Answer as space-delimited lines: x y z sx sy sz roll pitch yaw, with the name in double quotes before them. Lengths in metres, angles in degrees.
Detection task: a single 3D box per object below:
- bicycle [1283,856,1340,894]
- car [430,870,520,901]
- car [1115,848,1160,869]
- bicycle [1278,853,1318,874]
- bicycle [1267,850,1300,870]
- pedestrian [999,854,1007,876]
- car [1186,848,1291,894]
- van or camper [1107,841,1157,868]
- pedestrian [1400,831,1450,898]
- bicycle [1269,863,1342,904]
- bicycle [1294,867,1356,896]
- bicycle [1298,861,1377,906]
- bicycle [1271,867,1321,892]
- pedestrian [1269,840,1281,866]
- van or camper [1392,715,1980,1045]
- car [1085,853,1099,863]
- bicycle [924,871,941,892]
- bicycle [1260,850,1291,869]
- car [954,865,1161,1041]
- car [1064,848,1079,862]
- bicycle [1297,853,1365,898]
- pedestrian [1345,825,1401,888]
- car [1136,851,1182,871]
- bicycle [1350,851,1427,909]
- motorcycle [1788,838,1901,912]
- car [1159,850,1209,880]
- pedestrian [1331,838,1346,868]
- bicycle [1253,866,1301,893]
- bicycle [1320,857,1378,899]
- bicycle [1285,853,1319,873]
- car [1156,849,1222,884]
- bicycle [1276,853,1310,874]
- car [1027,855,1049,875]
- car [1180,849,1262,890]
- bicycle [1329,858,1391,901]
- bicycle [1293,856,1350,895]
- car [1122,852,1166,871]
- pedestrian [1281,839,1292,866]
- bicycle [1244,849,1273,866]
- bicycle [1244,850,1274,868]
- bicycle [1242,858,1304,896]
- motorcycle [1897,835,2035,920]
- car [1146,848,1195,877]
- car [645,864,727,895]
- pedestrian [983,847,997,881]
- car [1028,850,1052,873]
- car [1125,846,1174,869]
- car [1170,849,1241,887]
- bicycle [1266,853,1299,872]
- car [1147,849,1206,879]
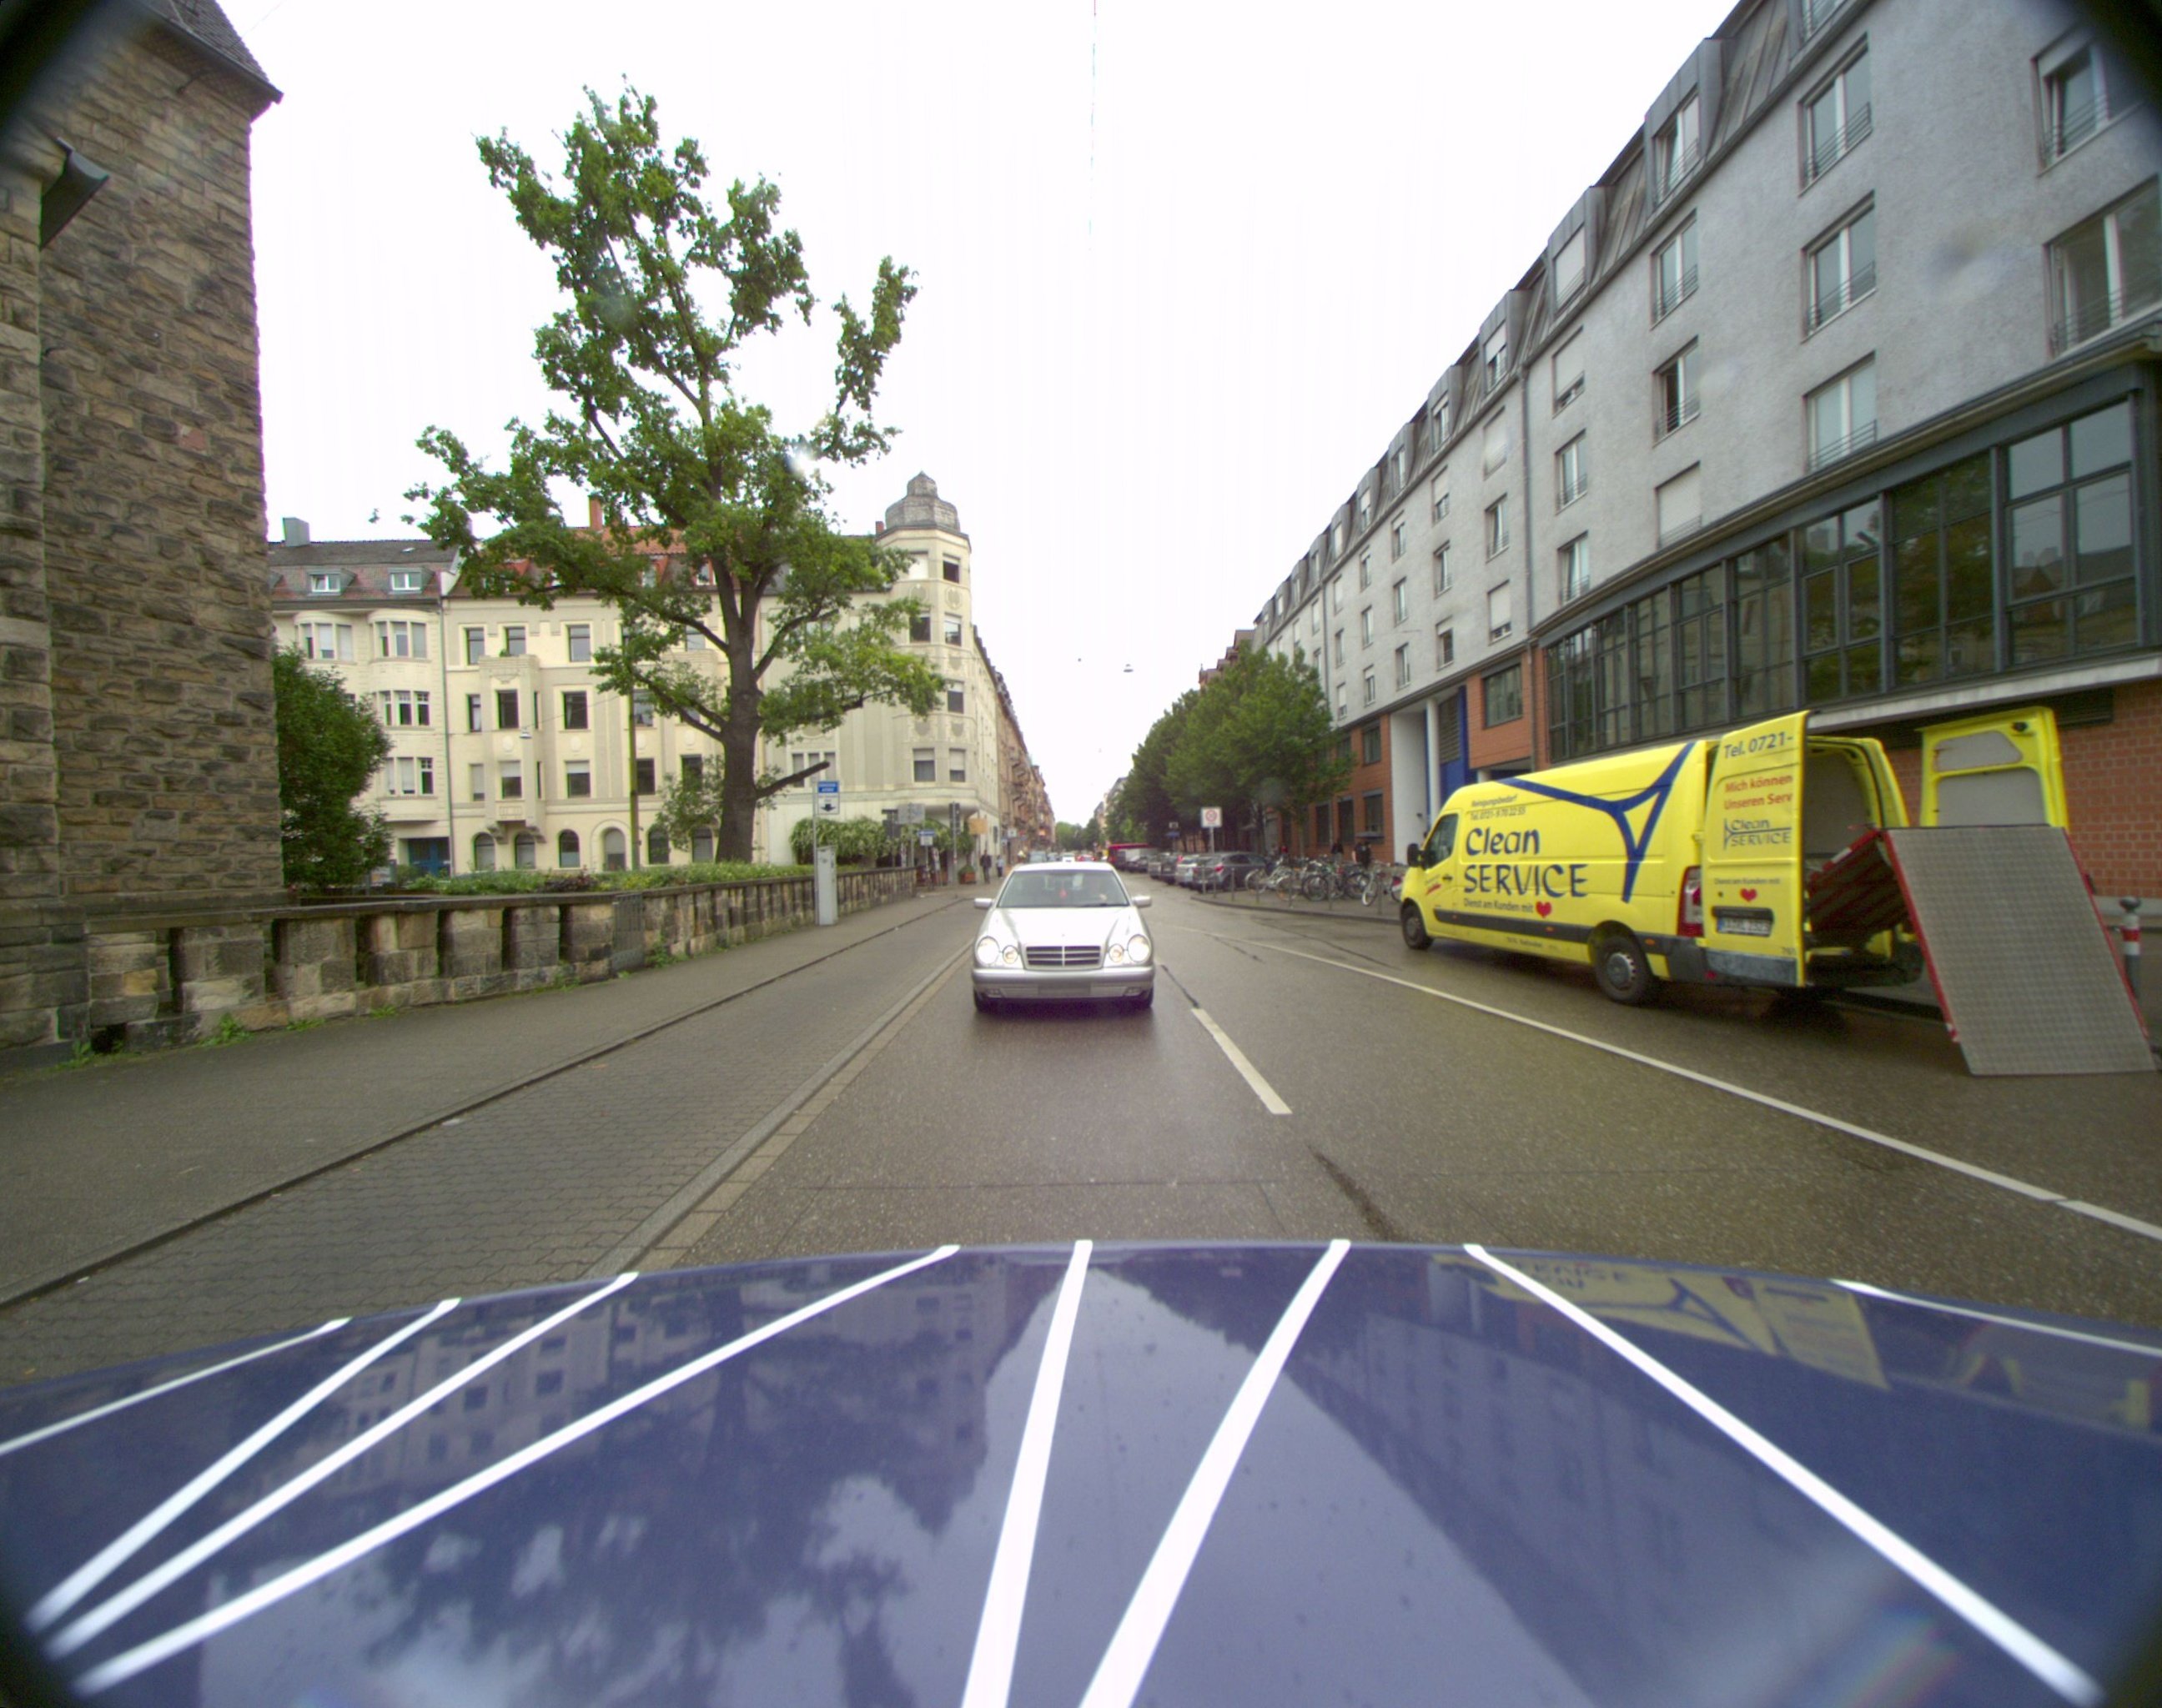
"bicycle" 7.276 0.654 24.027 1.610 1.099 0.520 -3 1 -5
"car" -29.457 1.526 36.981 3.270 1.401 1.448 -1 0 3
"car" 5.249 0.397 70.256 4.338 1.822 1.571 -1 1 -41
"bicycle" 10.636 0.475 37.214 1.851 0.979 0.445 -2 1 -8
"bicycle" 10.712 0.313 40.222 1.590 0.979 0.445 -2 1 -8
"pedestrian" -5.280 0.730 51.424 0.482 1.452 0.392 -1 1 0
"car" 5.942 0.615 28.641 3.629 1.494 1.736 -3 1 -31
"van or camper" 5.122 0.062 76.242 4.604 2.597 1.999 -1 1 -27
"pedestrian" 9.285 0.278 20.551 0.827 1.697 0.859 -6 1 1
"bicycle" 6.148 0.798 20.832 1.800 0.987 0.520 -3 1 -2
"bicycle" 7.297 0.812 22.723 1.773 0.757 0.456 -3 1 -13
"bicycle" 6.727 0.763 19.994 1.858 1.067 0.609 -3 1 5
"bicycle" 7.062 0.848 24.967 1.473 0.717 0.497 -3 1 3
"pedestrian" 11.911 -0.064 46.564 0.605 1.601 0.372 -2 1 -1
"van or camper" 6.055 0.199 9.030 2.201 2.596 5.941 -1 0 -1
"car" 1.380 0.531 97.865 1.651 1.301 3.311 -1 0 -2
"bicycle" -7.279 1.341 37.265 0.390 0.888 2.023 -1 2 0
"bicycle" 10.596 0.297 41.387 1.590 0.979 0.465 -2 1 -8
"car" -0.203 0.895 8.649 1.764 1.420 4.000 -2 0 0
"car" -1.341 0.176 111.065 1.998 2.002 4.000 -1 0 1
"bicycle" 7.274 0.620 22.130 1.815 1.187 0.519 -3 1 -13
"pedestrian" 9.302 0.072 24.244 1.228 1.870 1.055 -6 1 0
"car" 6.181 0.566 59.996 1.685 1.482 3.799 -1 0 40
"bicycle" 7.536 0.614 18.597 1.922 1.209 0.768 -6 3 -35
"motorcycle" 13.080 0.325 13.092 0.524 1.174 2.006 -3 0 19
"car" 5.475 0.578 40.403 2.506 1.442 1.191 -3 0 -40
"pedestrian" 13.036 -0.043 38.468 0.516 1.521 0.548 -1 1 -3
"bicycle" 6.587 0.852 25.594 1.473 0.800 0.497 -3 1 3
"bicycle" 7.490 0.667 21.271 1.461 1.096 0.462 -3 1 14
"bicycle" 11.132 0.452 38.231 1.590 0.979 0.445 -2 1 -8
"car" 5.273 0.584 37.062 3.084 1.543 1.449 -3 0 -40
"bicycle" 10.508 0.471 37.687 1.590 0.979 0.445 -2 1 -8
"car" -3.167 0.788 55.978 1.447 1.348 3.204 -1 0 0
"car" 5.820 0.622 31.568 3.083 1.494 1.449 -3 0 -31
"bicycle" 7.517 0.690 20.498 1.462 1.058 0.418 -3 1 4
"bicycle" 7.395 0.645 23.378 1.611 1.099 0.519 -3 1 -13
"car" 5.245 0.601 62.512 1.685 1.482 3.799 -1 0 40
"pedestrian" 12.514 -0.093 46.253 0.514 1.601 0.425 -2 1 1
"bicycle" 10.682 0.228 45.692 1.590 0.979 0.465 -2 1 -8
"bicycle" 10.245 0.271 43.662 1.590 0.979 0.465 -2 1 -8
"bicycle" 6.179 0.737 24.496 1.812 1.099 0.472 -3 1 -5
"motorcycle" 13.243 0.319 11.443 0.524 1.174 1.760 -3 0 19
"car" 5.370 0.504 45.559 2.685 1.546 1.148 -3 0 -29
"car" -19.395 1.252 37.409 3.270 1.401 1.448 -1 0 3
"pedestrian" -5.073 0.552 42.292 0.646 1.862 0.693 -1 1 0
"car" -3.254 0.584 61.101 1.726 1.794 3.462 -1 0 0
"car" 6.036 0.287 66.743 4.338 1.884 1.685 -1 1 -41
"car" 5.631 0.621 34.177 3.084 1.494 1.449 -3 0 -40
"bicycle" 10.502 0.439 39.603 1.590 0.979 0.445 -2 1 -8
"car" 5.398 0.567 42.802 2.985 1.546 1.369 -3 0 -29
